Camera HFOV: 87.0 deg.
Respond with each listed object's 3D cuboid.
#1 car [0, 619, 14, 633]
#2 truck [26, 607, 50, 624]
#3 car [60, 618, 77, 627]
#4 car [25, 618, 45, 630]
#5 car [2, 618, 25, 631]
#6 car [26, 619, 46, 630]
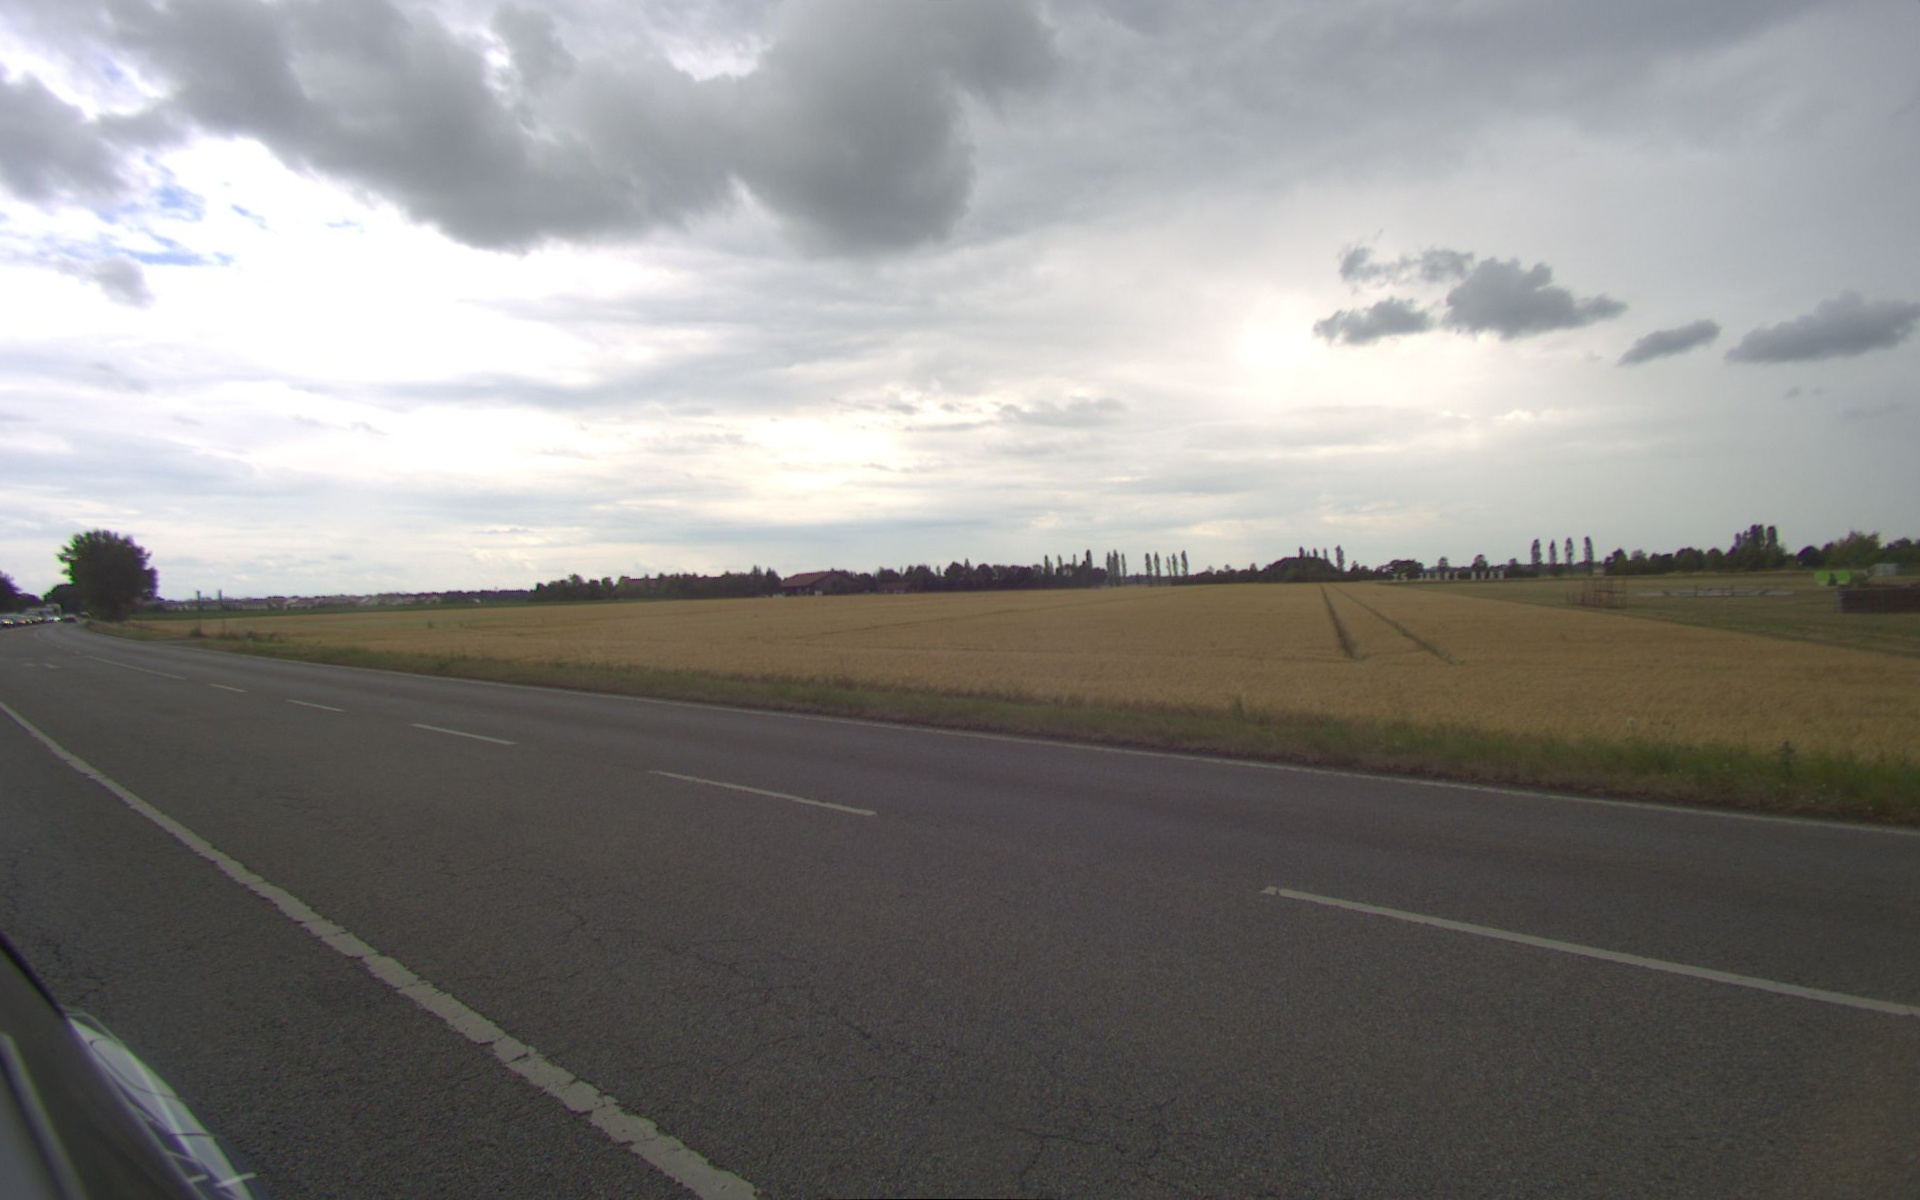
[{"bbox_3d":[-114.049,3.074,120.449,1.766,1.595,4.145,-1,0,-38],"label":"car"},{"bbox_3d":[-159.365,2.598,174.956,2.284,2.786,7.689,-2,0,-38],"label":"truck"},{"bbox_3d":[-150.751,3.847,171.220,1.803,1.421,4.434,0,-1,-36],"label":"car"},{"bbox_3d":[-137.304,3.553,150.215,1.766,1.595,4.146,-1,0,-36],"label":"car"},{"bbox_3d":[-125.128,3.264,133.807,1.766,1.595,4.146,-1,0,-37],"label":"car"},{"bbox_3d":[-142.608,3.796,156.190,1.765,1.551,4.146,-1,0,-36],"label":"car"}]
